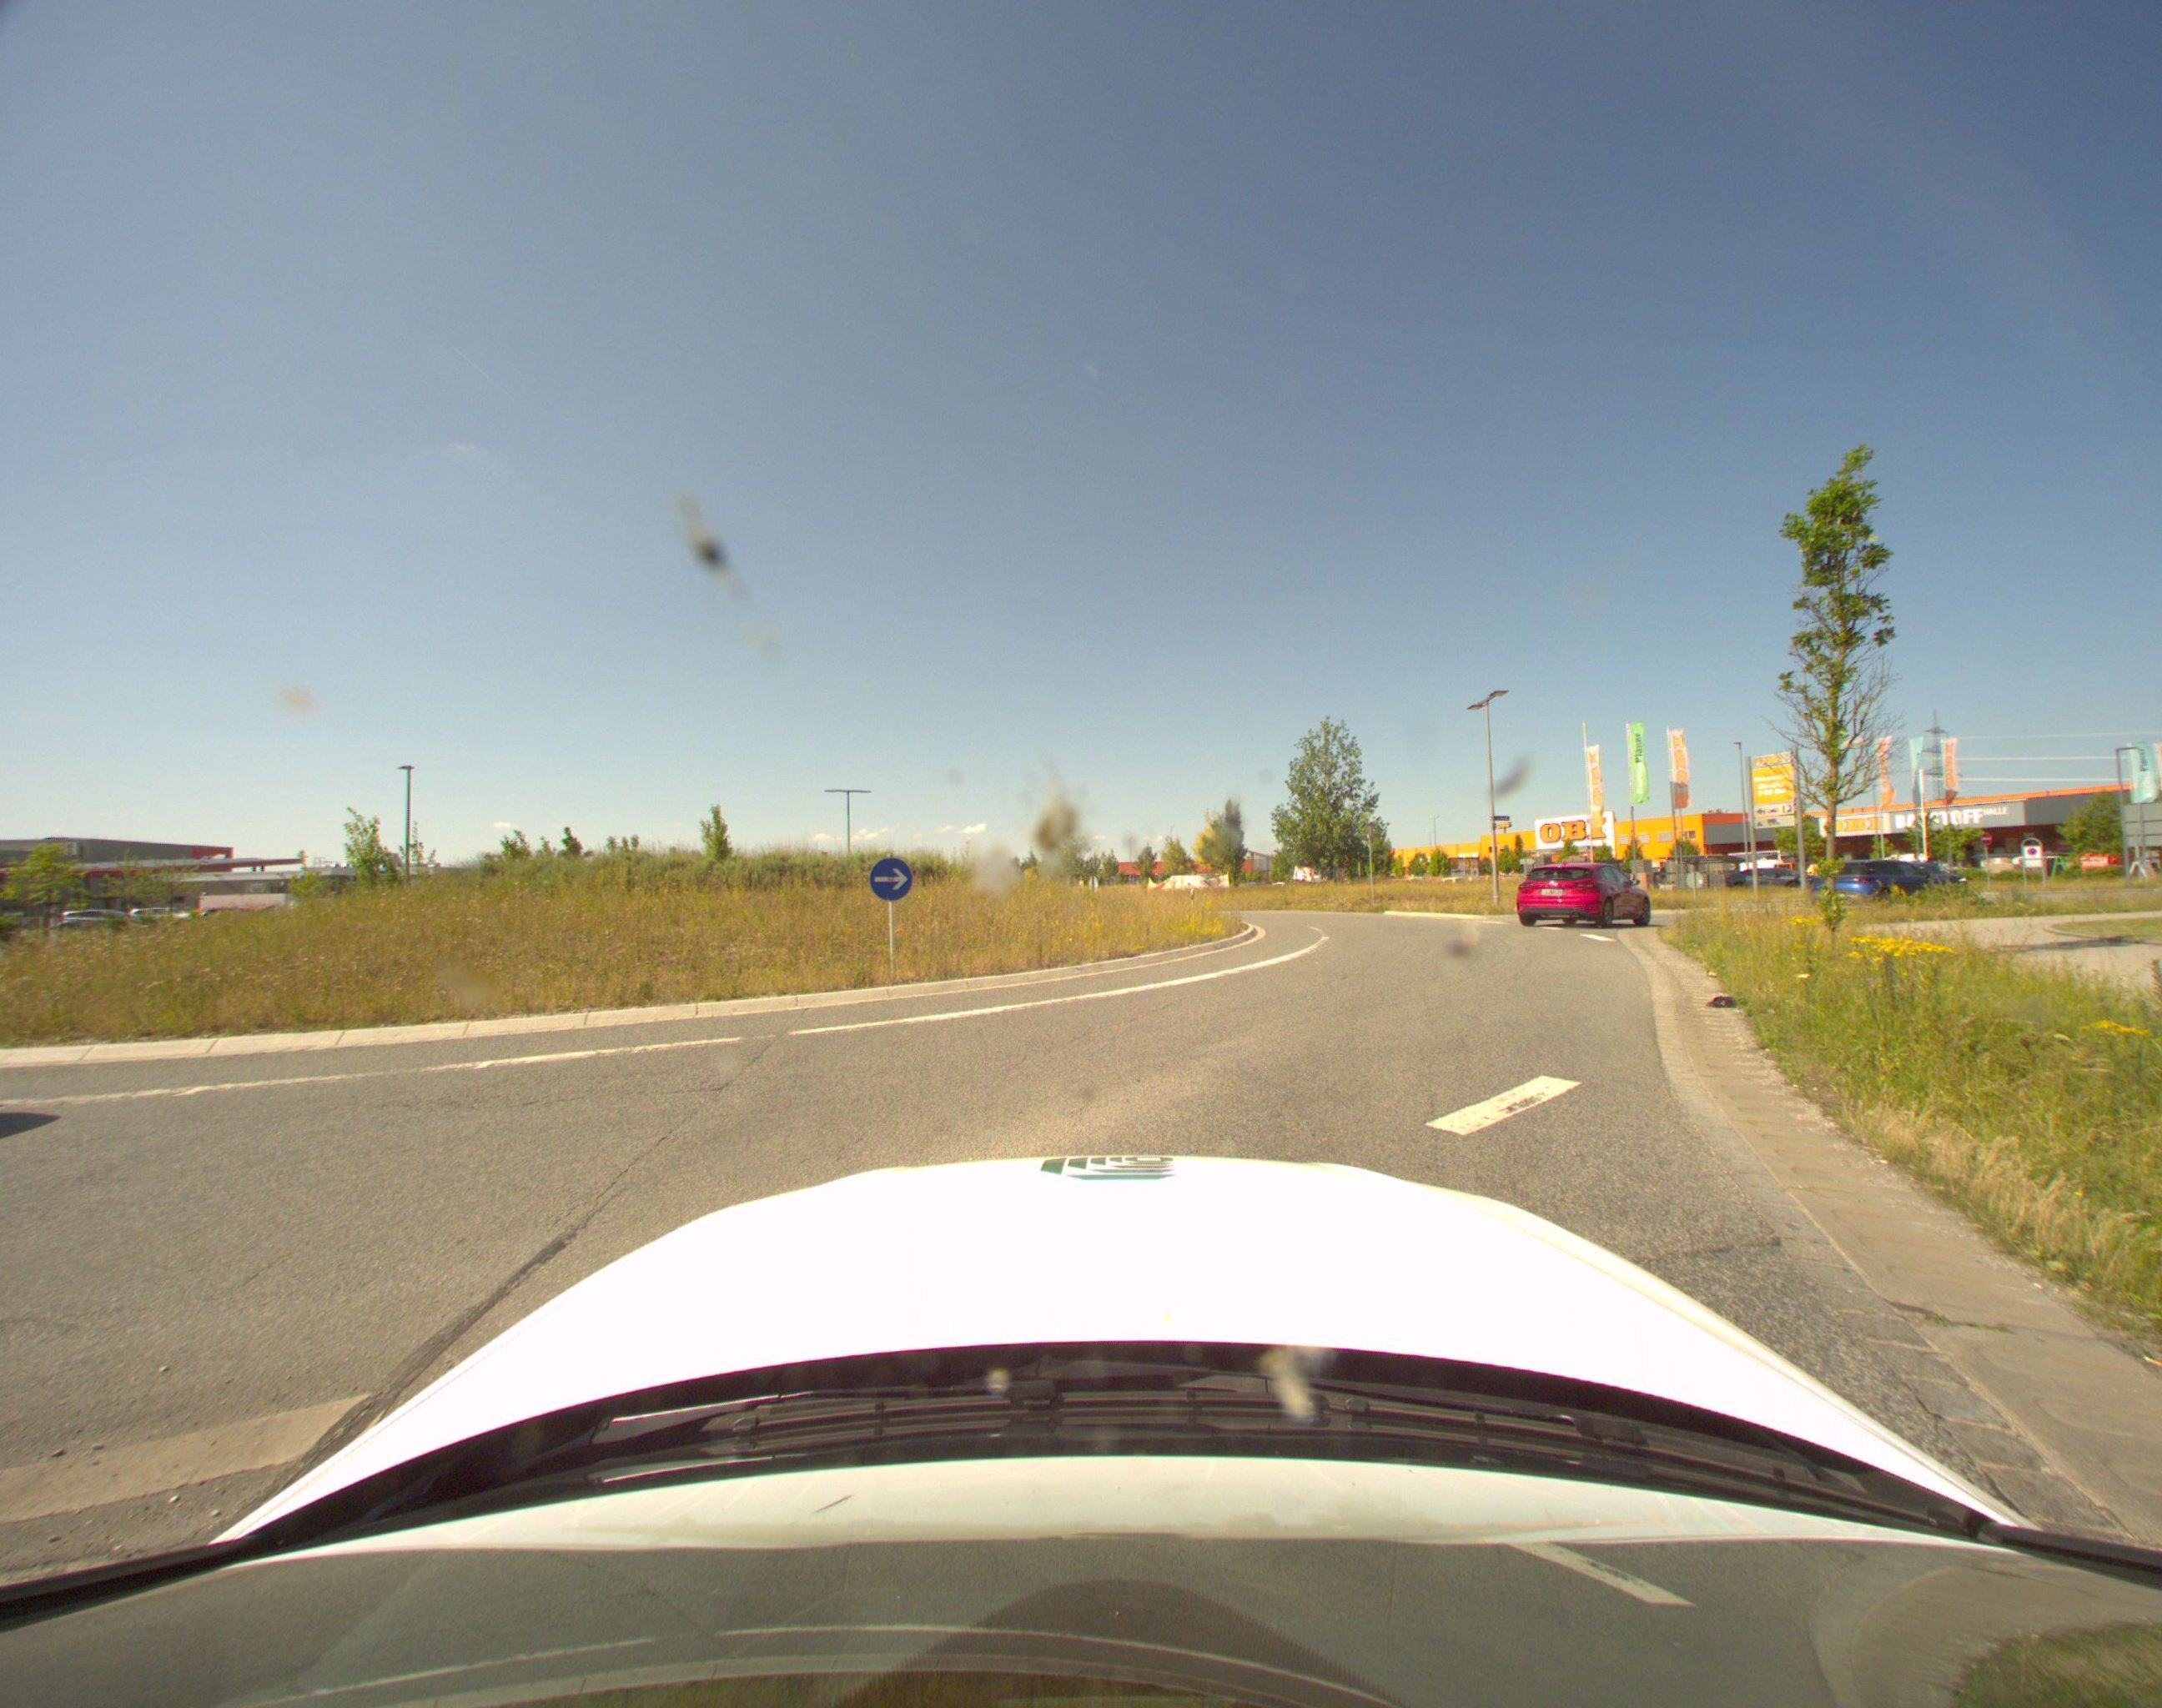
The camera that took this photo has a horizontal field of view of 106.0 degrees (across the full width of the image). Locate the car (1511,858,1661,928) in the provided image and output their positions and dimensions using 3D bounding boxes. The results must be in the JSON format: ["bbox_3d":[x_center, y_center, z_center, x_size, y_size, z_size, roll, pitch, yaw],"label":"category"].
[{"bbox_3d":[11.761,0.836,18.870,4.139,1.416,1.787,0,-2,-41],"label":"car"}]

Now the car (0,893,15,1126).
[{"bbox_3d":[-8.930,1.060,4.575,3.875,1.488,1.646,-2,-1,3],"label":"car"}]

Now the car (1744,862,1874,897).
[{"bbox_3d":[38.788,1.401,43.563,2.079,1.627,4.663,0,-4,-20],"label":"car"}]

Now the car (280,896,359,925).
[{"bbox_3d":[-58.768,4.317,63.003,1.995,2.014,5.114,-1,-3,-12],"label":"car"}]

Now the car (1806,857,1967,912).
[{"bbox_3d":[25.765,0.950,26.080,4.074,1.635,1.847,0,-2,-15],"label":"car"}]

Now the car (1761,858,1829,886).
[{"bbox_3d":[49.501,1.261,56.454,3.768,1.841,1.691,1,-3,-15],"label":"car"}]
